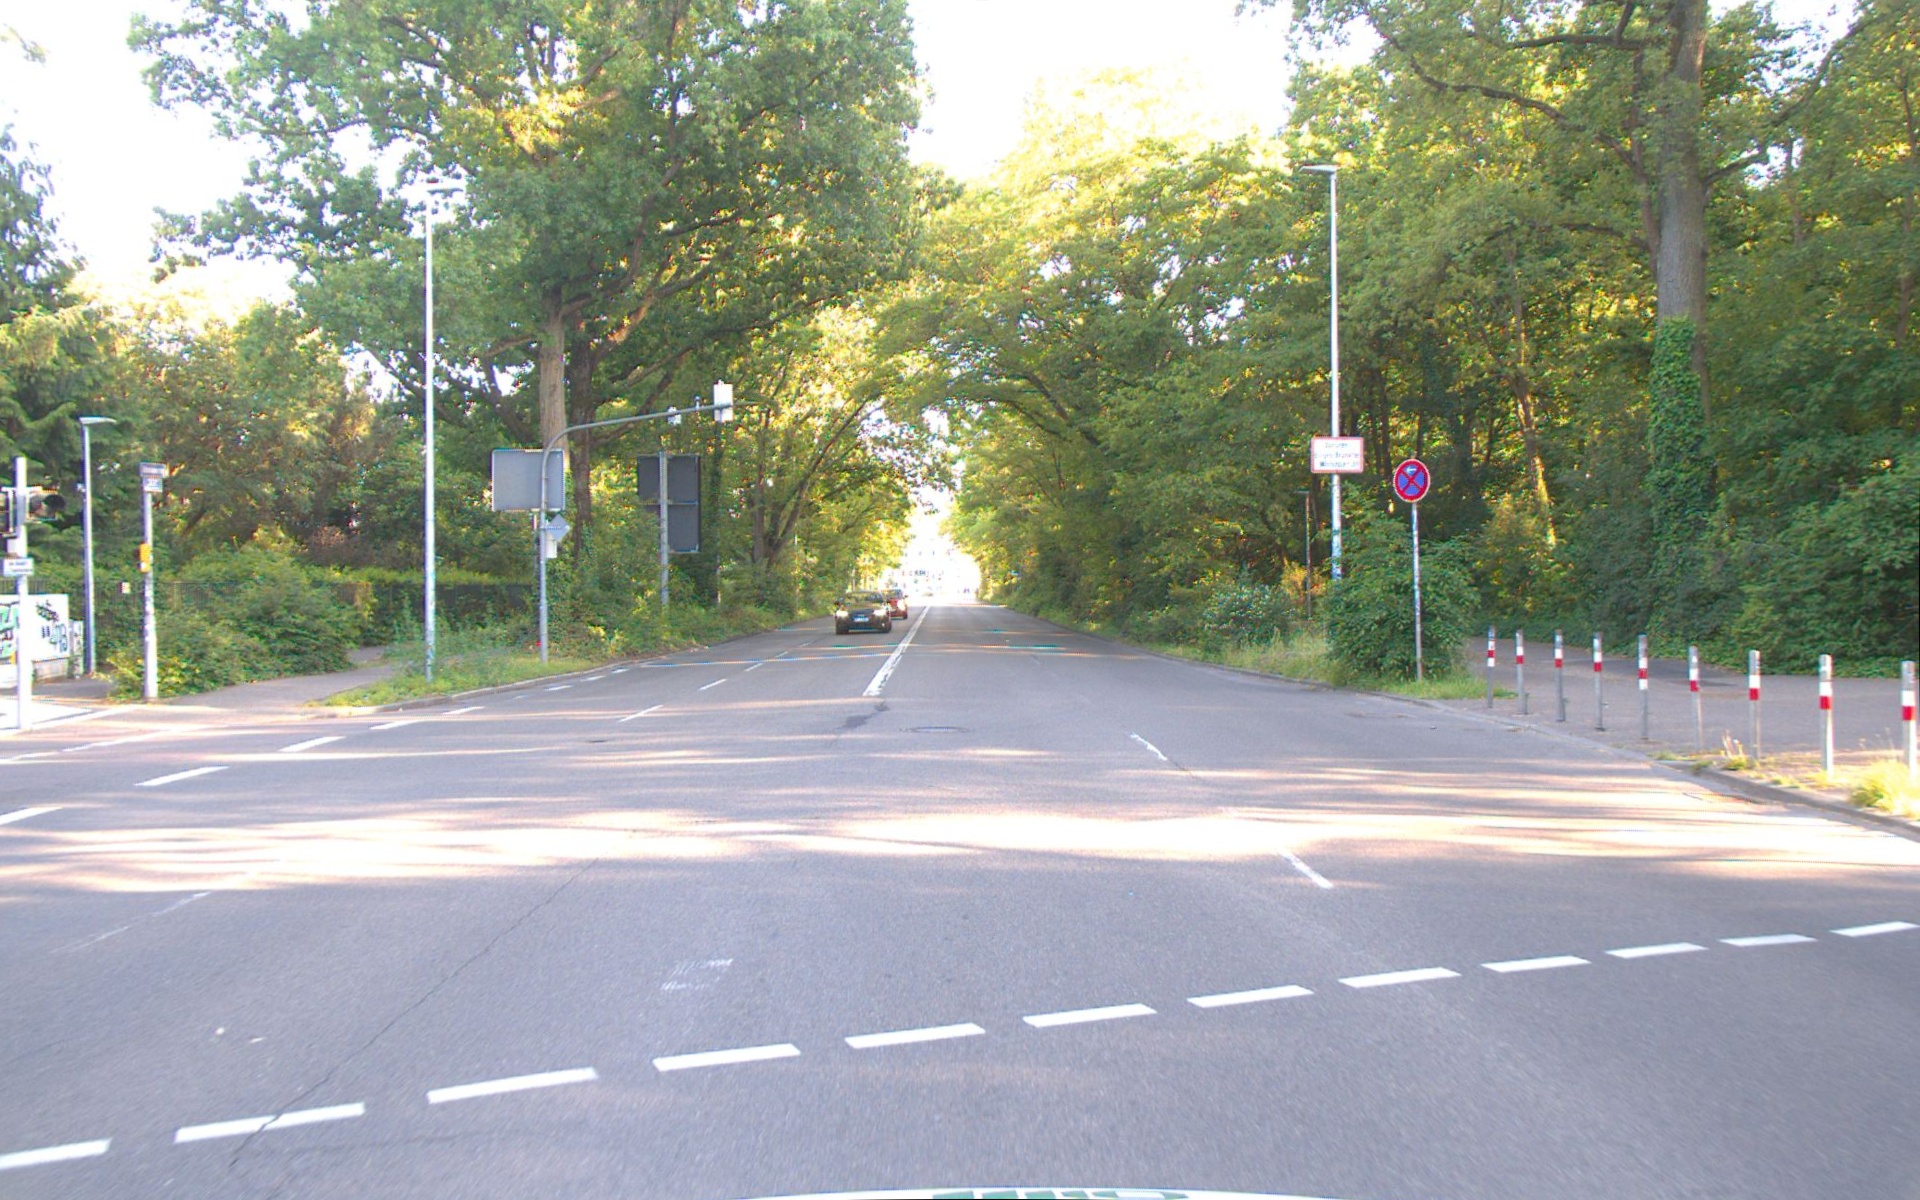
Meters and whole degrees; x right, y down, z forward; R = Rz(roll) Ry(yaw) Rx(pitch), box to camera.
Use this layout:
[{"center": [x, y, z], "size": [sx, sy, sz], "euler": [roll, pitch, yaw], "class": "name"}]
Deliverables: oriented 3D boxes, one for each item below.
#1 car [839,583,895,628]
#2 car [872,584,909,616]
[{"center": [-3.299, 0.180, 59.398], "size": [1.849, 1.533, 4.363], "euler": [-1, 0, -2], "class": "car"}, {"center": [-3.502, -0.023, 83.572], "size": [1.761, 1.533, 4.363], "euler": [-1, 0, -2], "class": "car"}]
